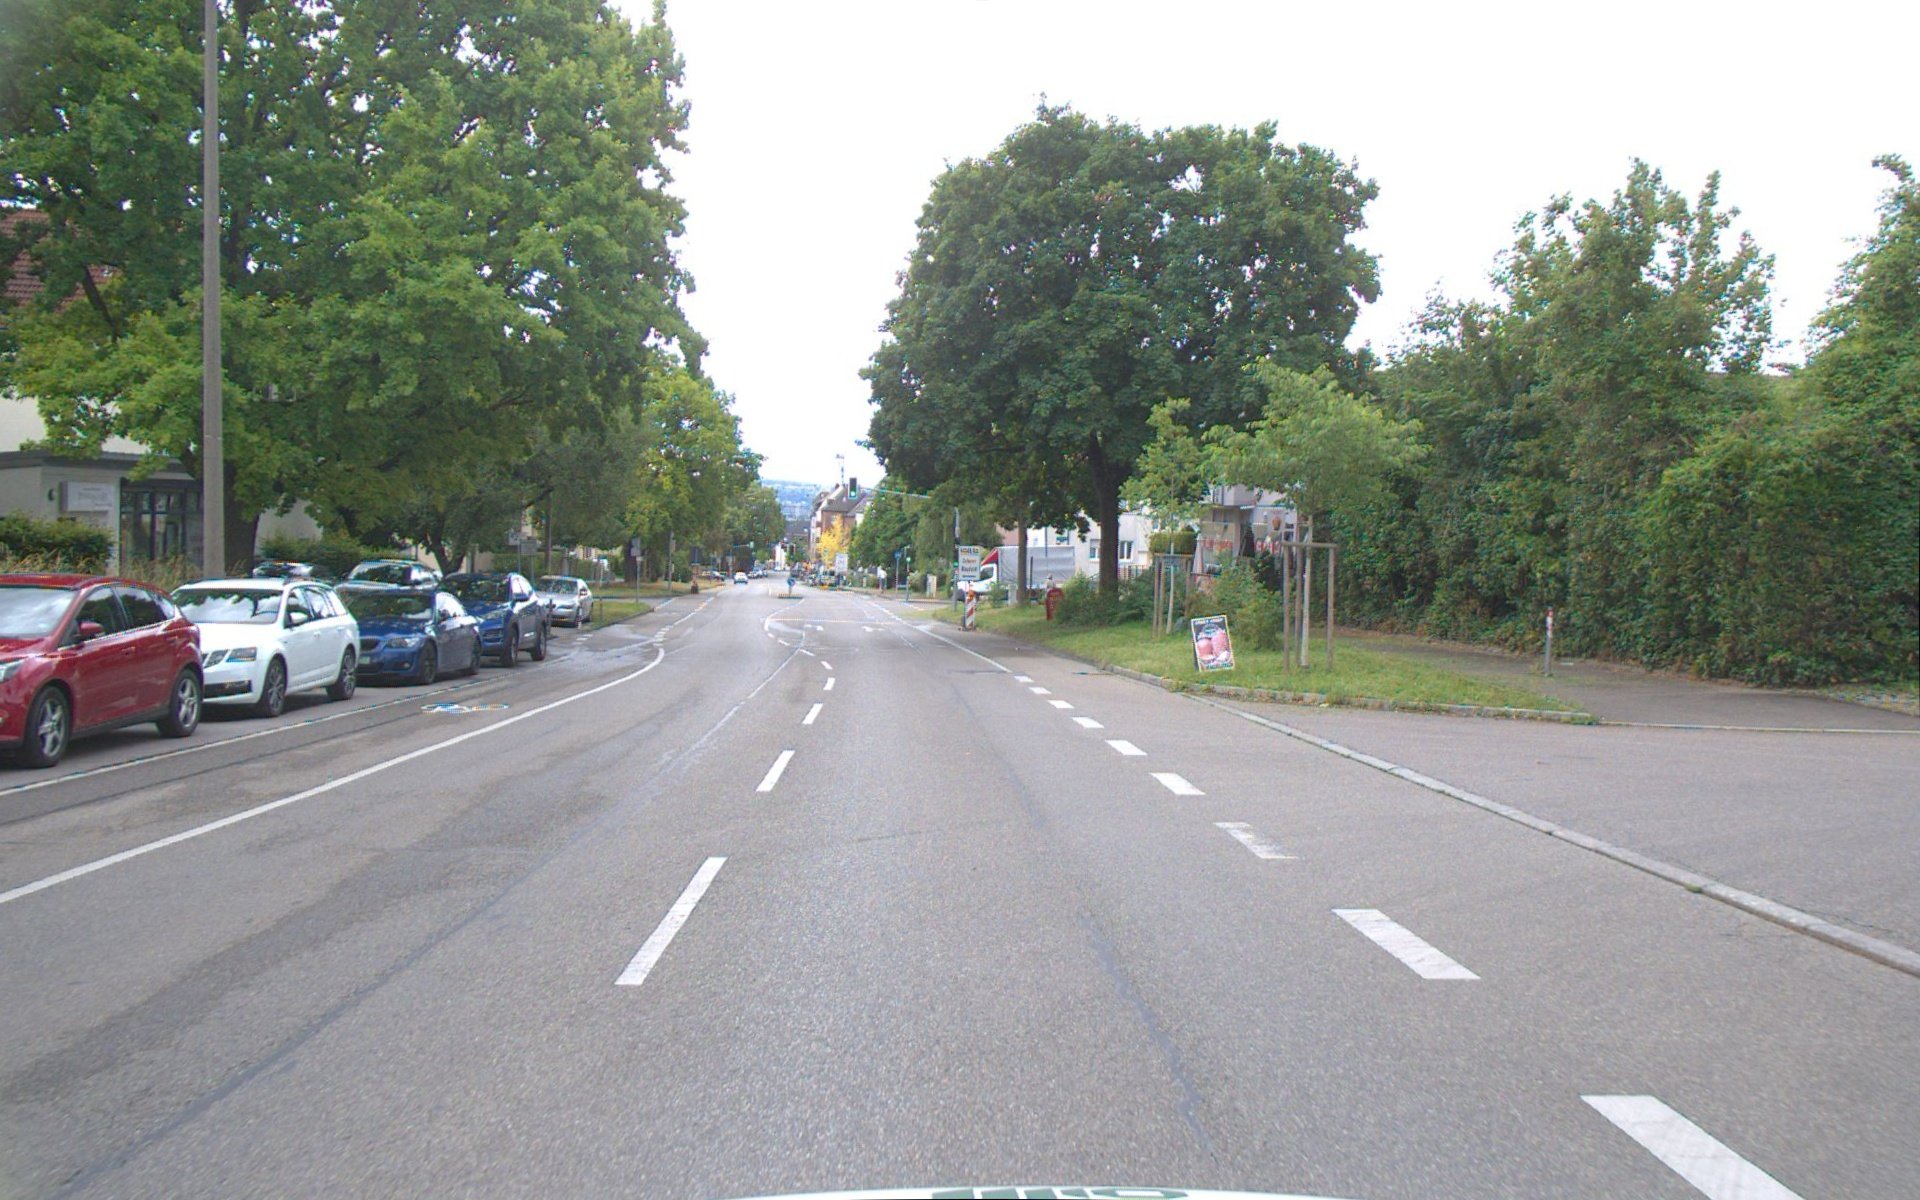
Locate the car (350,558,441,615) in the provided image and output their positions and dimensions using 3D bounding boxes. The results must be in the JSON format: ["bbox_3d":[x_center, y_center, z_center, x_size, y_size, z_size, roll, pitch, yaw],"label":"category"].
[{"bbox_3d":[-17.739,-0.433,52.173,1.727,1.661,4.283,2,0,-6],"label":"car"}]

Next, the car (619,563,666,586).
[{"bbox_3d":[-24.462,-1.942,127.532,3.384,1.624,1.997,2,0,-8],"label":"car"}]

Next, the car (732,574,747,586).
[{"bbox_3d":[-30.008,-2.683,224.847,1.956,1.531,3.994,2,0,-7],"label":"car"}]

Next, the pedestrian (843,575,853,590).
[{"bbox_3d":[-14.016,-2.166,207.712,1.177,1.841,1.299,2,0,-6],"label":"pedestrian"}]

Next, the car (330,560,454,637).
[{"bbox_3d":[-13.919,-0.055,40.745,1.727,1.661,3.998,4,0,-3],"label":"car"}]

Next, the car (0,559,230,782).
[{"bbox_3d":[-7.848,0.470,13.927,1.681,1.600,4.367,2,0,-4],"label":"car"}]

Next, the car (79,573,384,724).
[{"bbox_3d":[-8.222,0.481,19.176,1.681,1.485,4.753,2,0,-4],"label":"car"}]

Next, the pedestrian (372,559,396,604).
[{"bbox_3d":[-21.444,-0.686,61.585,0.618,1.641,0.828,2,0,-8],"label":"pedestrian"}]

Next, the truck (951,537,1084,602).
[{"bbox_3d":[3.194,-1.708,92.639,7.089,3.364,2.537,2,1,-7],"label":"truck"}]

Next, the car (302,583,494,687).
[{"bbox_3d":[-8.429,0.469,25.195,1.681,1.413,4.335,1,0,-4],"label":"car"}]

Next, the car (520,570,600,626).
[{"bbox_3d":[-12.846,-0.095,53.372,1.727,1.661,4.748,2,0,-5],"label":"car"}]

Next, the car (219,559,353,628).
[{"bbox_3d":[-16.562,-0.177,40.849,1.727,1.496,4.436,4,0,-5],"label":"car"}]

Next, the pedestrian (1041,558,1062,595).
[{"bbox_3d":[4.769,-1.250,86.447,0.737,1.887,0.949,-2,2,-21],"label":"pedestrian"}]

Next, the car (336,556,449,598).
[{"bbox_3d":[-27.855,-1.112,81.341,4.899,1.845,1.997,2,0,-8],"label":"car"}]

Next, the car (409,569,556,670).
[{"bbox_3d":[-8.797,0.293,30.834,1.681,1.640,4.532,2,2,-4],"label":"car"}]
